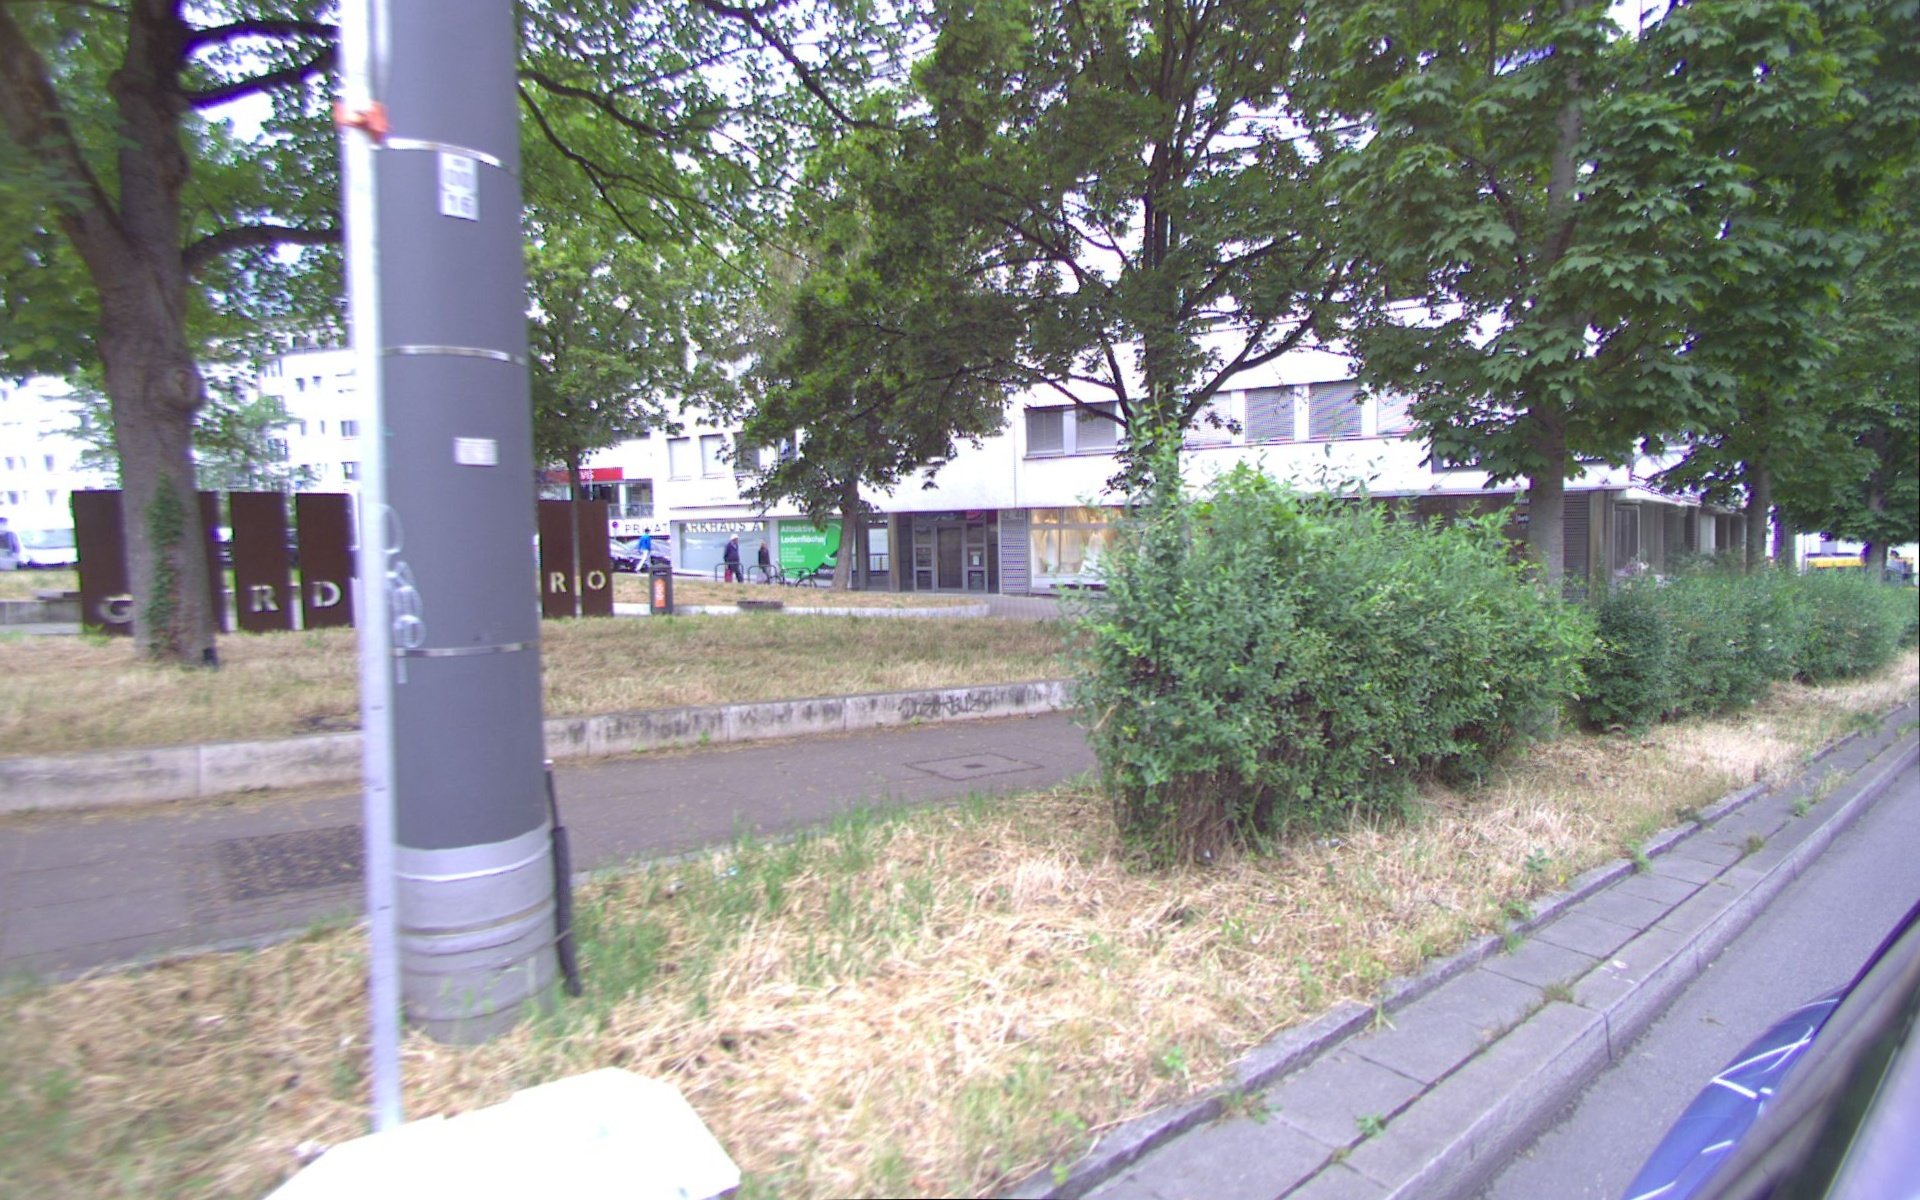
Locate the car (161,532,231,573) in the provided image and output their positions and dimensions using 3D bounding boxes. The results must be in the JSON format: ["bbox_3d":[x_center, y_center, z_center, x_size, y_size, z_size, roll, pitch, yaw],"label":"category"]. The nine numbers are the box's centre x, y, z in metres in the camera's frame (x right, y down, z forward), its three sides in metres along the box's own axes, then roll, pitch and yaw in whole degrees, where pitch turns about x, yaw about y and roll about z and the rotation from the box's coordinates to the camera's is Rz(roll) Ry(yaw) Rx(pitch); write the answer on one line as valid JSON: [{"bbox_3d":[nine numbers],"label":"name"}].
[{"bbox_3d":[-38.683,-2.382,51.211,3.636,1.825,1.602,-2,1,32],"label":"car"}]

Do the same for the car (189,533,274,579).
[{"bbox_3d":[-34.064,-2.044,47.291,4.438,1.909,1.974,-2,1,37],"label":"car"}]

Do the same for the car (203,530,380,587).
[{"bbox_3d":[-19.887,-1.232,30.300,1.733,1.517,4.118,-2,1,23],"label":"car"}]

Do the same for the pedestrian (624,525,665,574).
[{"bbox_3d":[-12.328,-1.958,39.558,1.014,1.845,1.150,-2,0,25],"label":"pedestrian"}]

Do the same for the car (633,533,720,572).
[{"bbox_3d":[-12.760,-2.138,45.544,3.584,1.694,1.588,2,2,22],"label":"car"}]

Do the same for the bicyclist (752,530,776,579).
[{"bbox_3d":[-6.549,-1.519,33.850,0.593,1.622,0.506,2,2,38],"label":"bicyclist"}]

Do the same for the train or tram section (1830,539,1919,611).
[{"bbox_3d":[50.769,-1.344,52.228,2.849,3.709,14.169,-2,1,14],"label":"train or tram section"}]

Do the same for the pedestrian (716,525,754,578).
[{"bbox_3d":[-7.398,-1.586,33.247,0.876,1.722,0.865,2,2,38],"label":"pedestrian"}]

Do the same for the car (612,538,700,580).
[{"bbox_3d":[-12.933,-1.745,43.068,3.348,1.669,1.588,2,2,22],"label":"car"}]

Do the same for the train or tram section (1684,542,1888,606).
[{"bbox_3d":[53.317,-1.794,66.235,2.881,3.602,14.213,-2,2,6],"label":"train or tram section"}]

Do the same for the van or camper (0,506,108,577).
[{"bbox_3d":[-34.246,-2.130,37.848,5.404,2.258,2.273,-2,1,35],"label":"van or camper"}]

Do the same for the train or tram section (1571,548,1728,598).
[{"bbox_3d":[54.168,-2.066,80.352,2.837,3.484,14.226,-3,1,1],"label":"train or tram section"}]

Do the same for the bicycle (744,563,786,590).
[{"bbox_3d":[-6.522,-0.798,33.834,1.534,0.869,0.513,2,2,38],"label":"bicycle"}]
